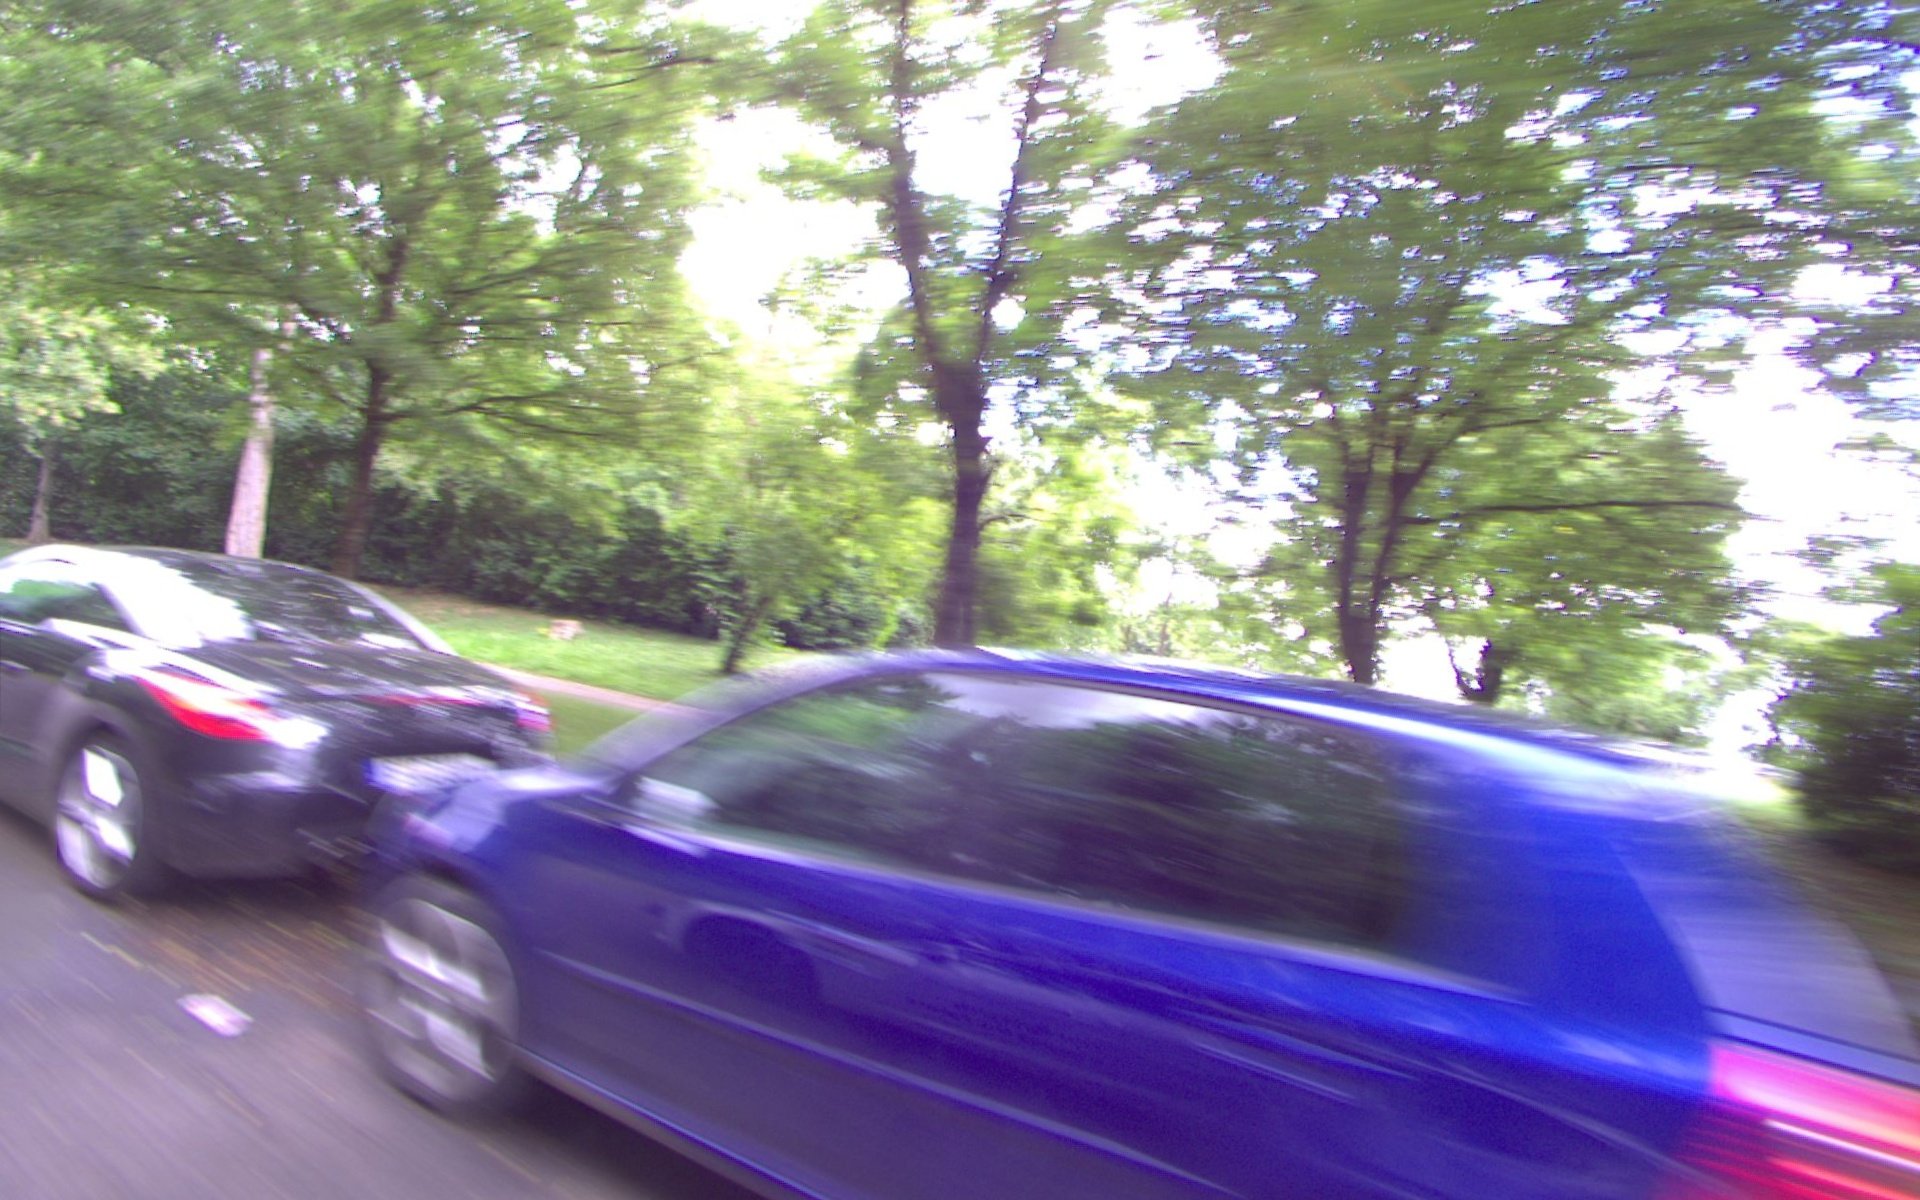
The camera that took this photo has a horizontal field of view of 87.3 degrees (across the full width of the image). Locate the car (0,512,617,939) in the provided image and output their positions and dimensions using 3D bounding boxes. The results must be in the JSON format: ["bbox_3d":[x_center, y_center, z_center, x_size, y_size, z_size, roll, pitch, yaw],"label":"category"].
[{"bbox_3d":[-4.094,0.360,5.248,4.339,1.352,1.756,7,-3,28],"label":"car"}]

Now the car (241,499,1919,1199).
[{"bbox_3d":[-0.029,0.737,2.933,4.111,1.525,1.720,6,-4,31],"label":"car"}]
